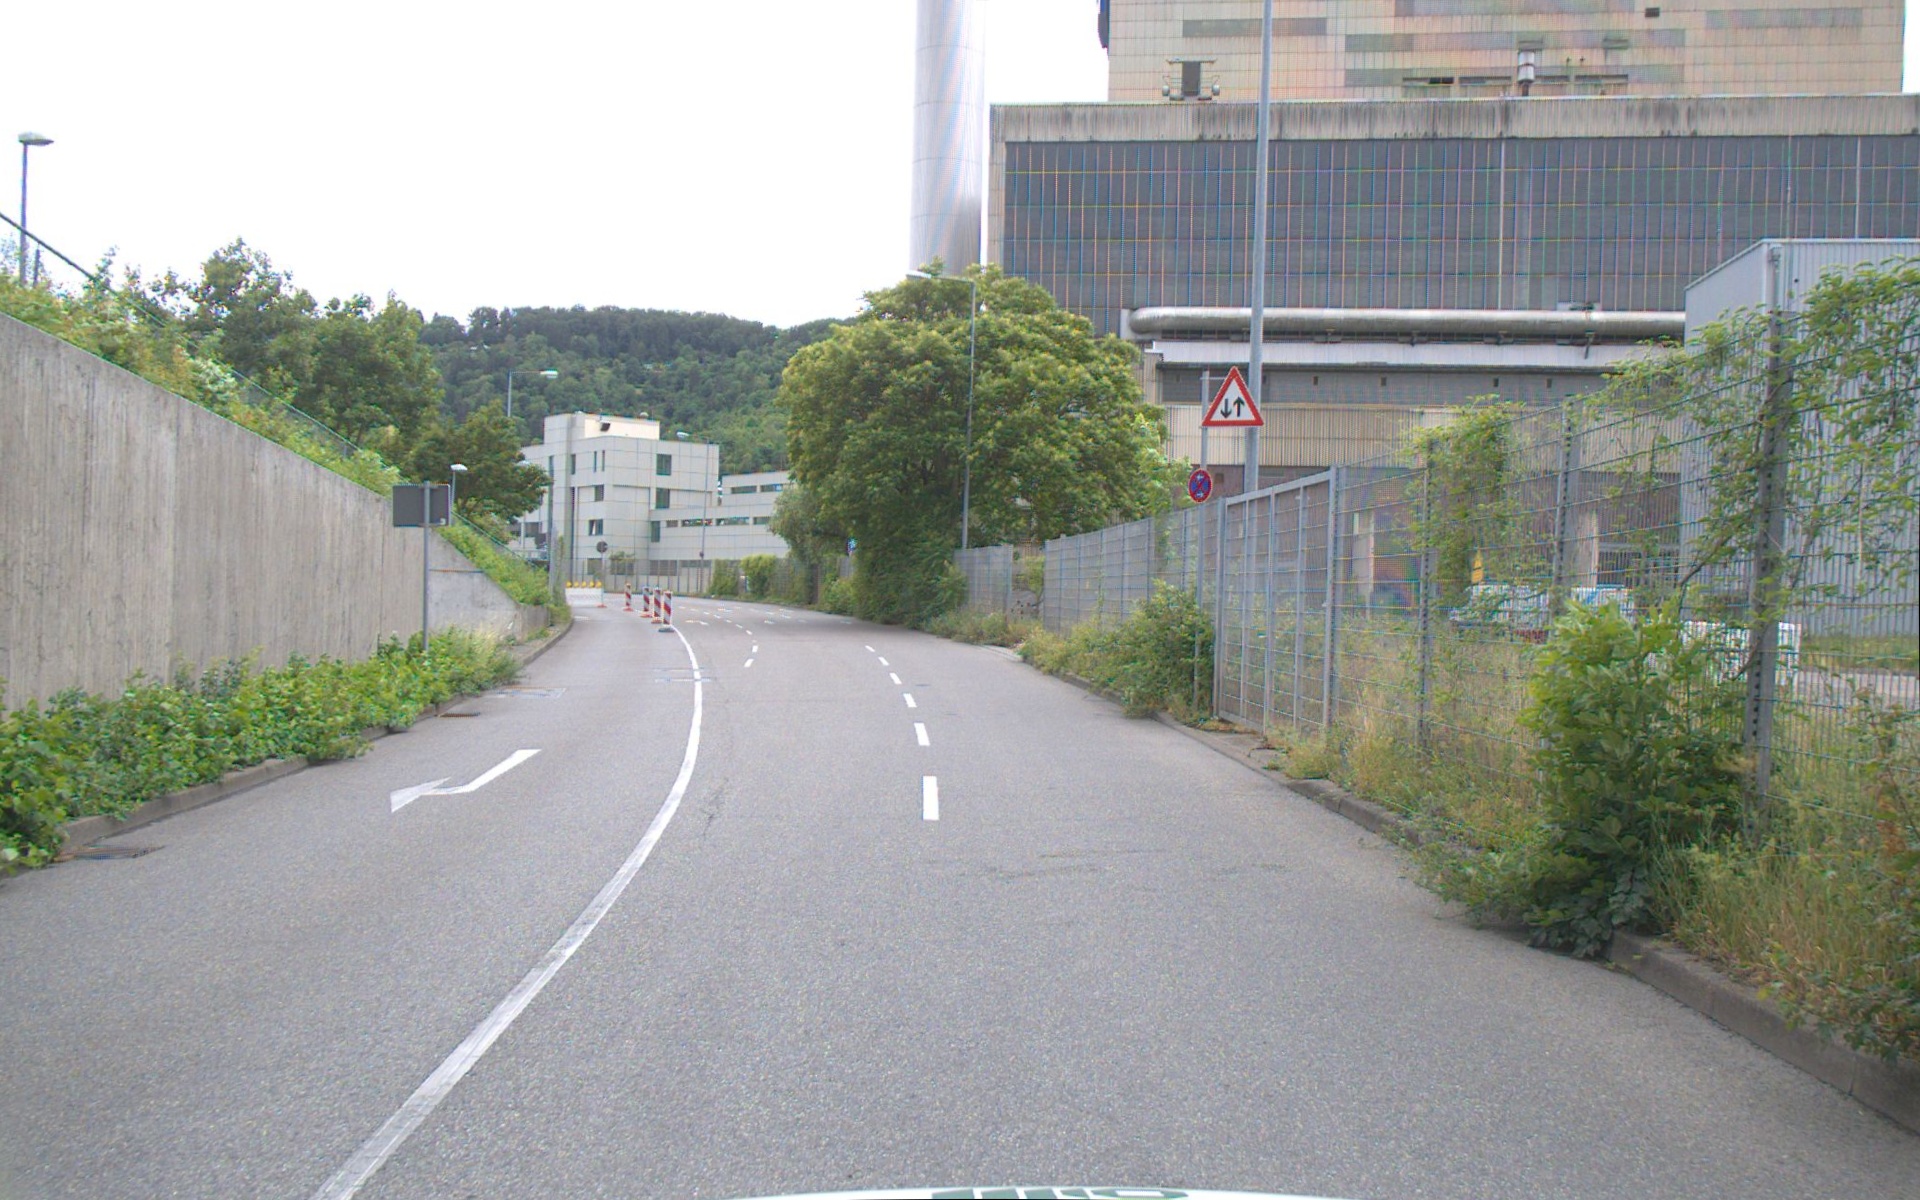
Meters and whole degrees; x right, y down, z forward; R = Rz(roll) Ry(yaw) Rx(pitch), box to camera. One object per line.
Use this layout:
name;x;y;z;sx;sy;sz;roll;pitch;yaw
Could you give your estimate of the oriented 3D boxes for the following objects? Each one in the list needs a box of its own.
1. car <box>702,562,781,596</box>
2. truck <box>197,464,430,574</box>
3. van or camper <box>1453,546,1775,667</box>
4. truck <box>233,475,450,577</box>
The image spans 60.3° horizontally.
car;-16.526;-1.569;125.080;6.043;2.302;1.994;3;0;34
truck;-24.543;-2.981;62.993;7.777;3.600;3.014;2;-2;-36
van or camper;27.382;0.339;69.553;11.602;4.610;5.468;1;-1;-13
truck;-25.251;-2.928;67.753;7.787;3.600;3.010;2;-2;-39
